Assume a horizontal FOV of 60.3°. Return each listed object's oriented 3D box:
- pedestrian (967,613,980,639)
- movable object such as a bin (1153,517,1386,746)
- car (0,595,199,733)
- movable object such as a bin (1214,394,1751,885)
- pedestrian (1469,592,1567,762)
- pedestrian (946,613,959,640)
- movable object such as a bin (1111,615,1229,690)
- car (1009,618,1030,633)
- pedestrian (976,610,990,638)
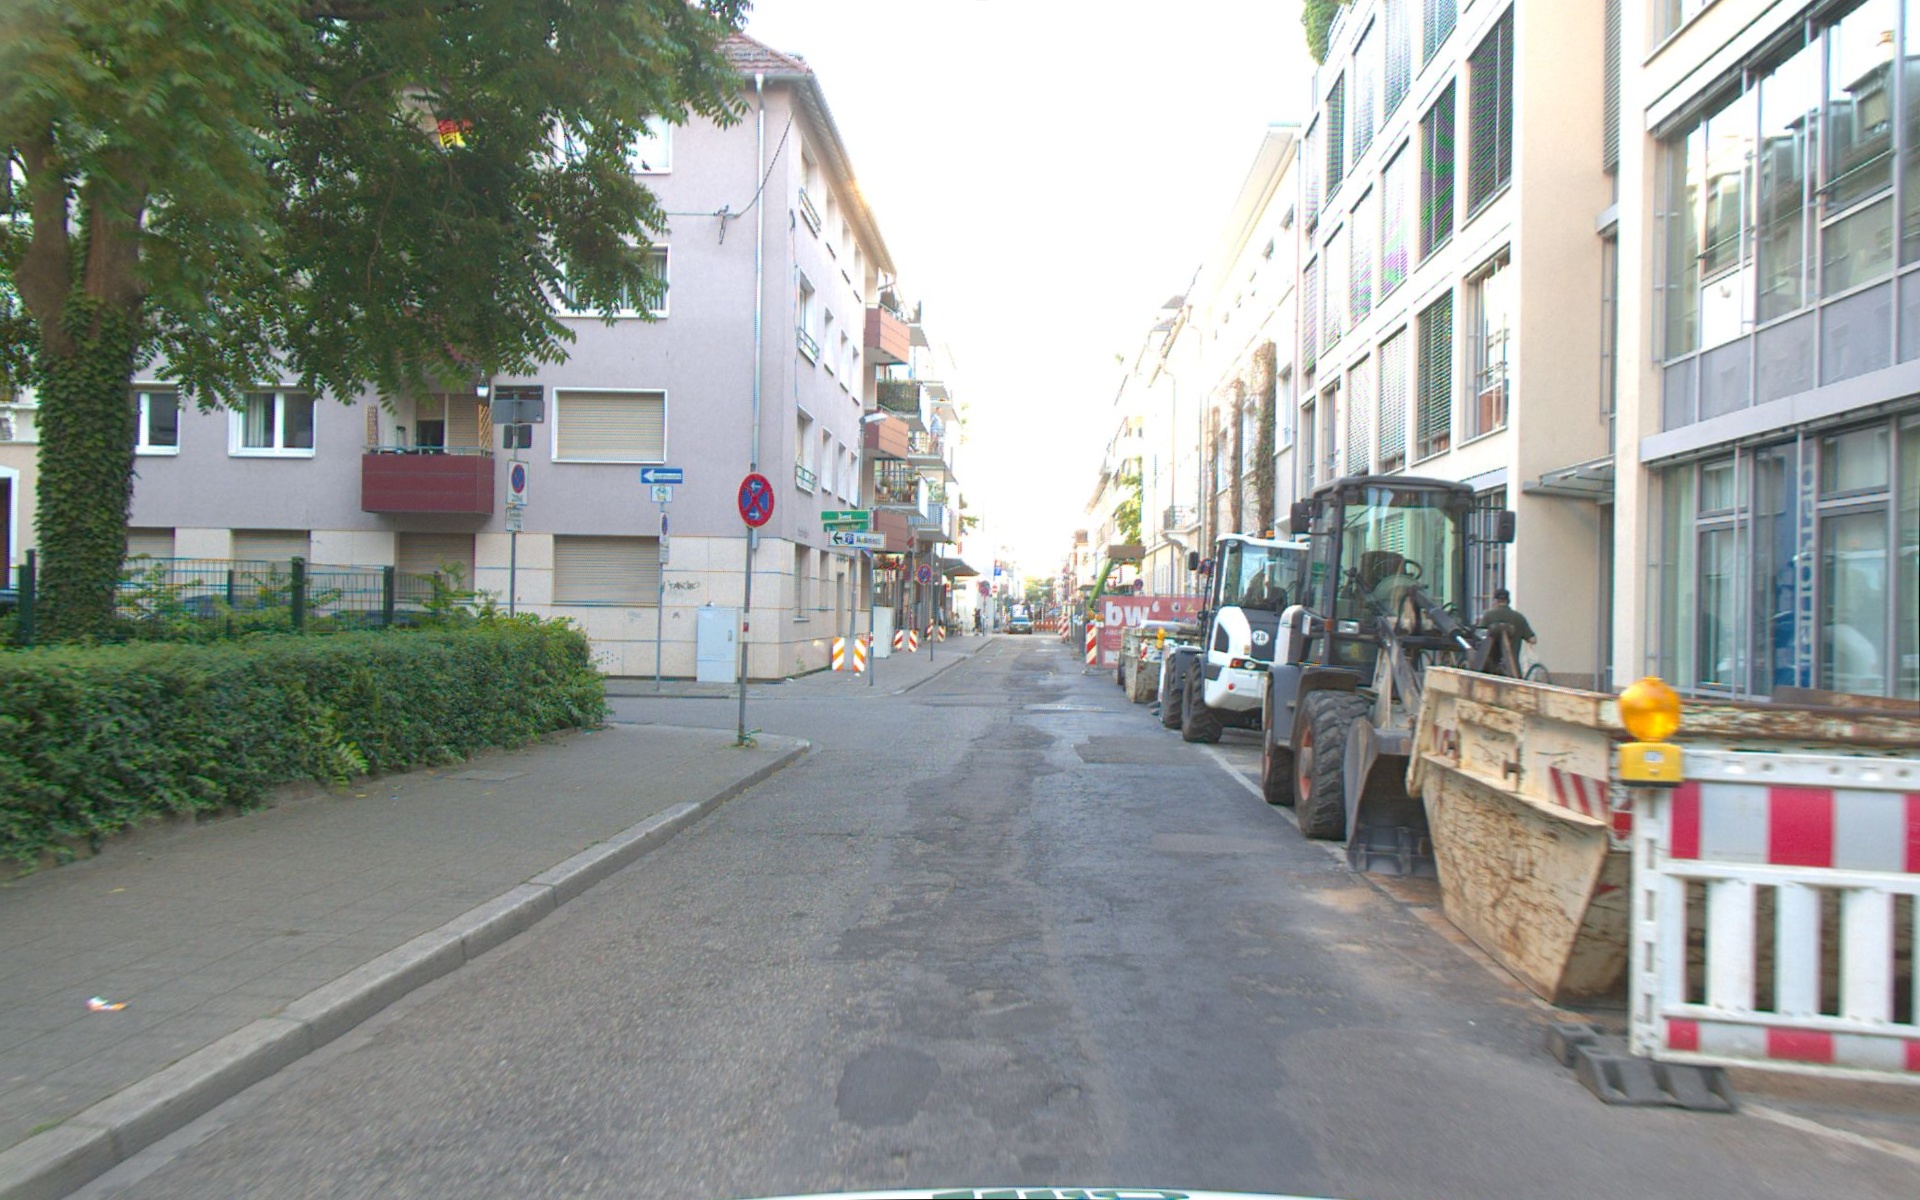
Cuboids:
[{"bbox_3d":[0.834,1.608,104.163,0.781,1.622,0.744,1,-1,1],"label":"pedestrian"},{"bbox_3d":[3.774,0.375,20.929,2.230,2.585,4.098,1,-1,1],"label":"movable object such as a bin"},{"bbox_3d":[-12.906,0.860,23.302,3.449,1.787,1.885,1,1,0],"label":"car"},{"bbox_3d":[3.381,0.237,12.151,2.230,2.740,5.649,1,0,1],"label":"movable object such as a bin"},{"bbox_3d":[6.377,0.862,18.952,0.868,1.883,0.876,1,-1,5],"label":"pedestrian"},{"bbox_3d":[-0.430,1.497,93.574,0.650,1.463,0.533,1,-1,6],"label":"pedestrian"},{"bbox_3d":[4.304,1.054,34.410,2.004,1.436,3.975,1,0,1],"label":"movable object such as a bin"},{"bbox_3d":[4.652,1.966,129.610,1.505,1.154,3.121,1,0,-1],"label":"car"},{"bbox_3d":[1.403,1.457,99.672,0.780,1.690,0.745,1,-1,5],"label":"pedestrian"}]
